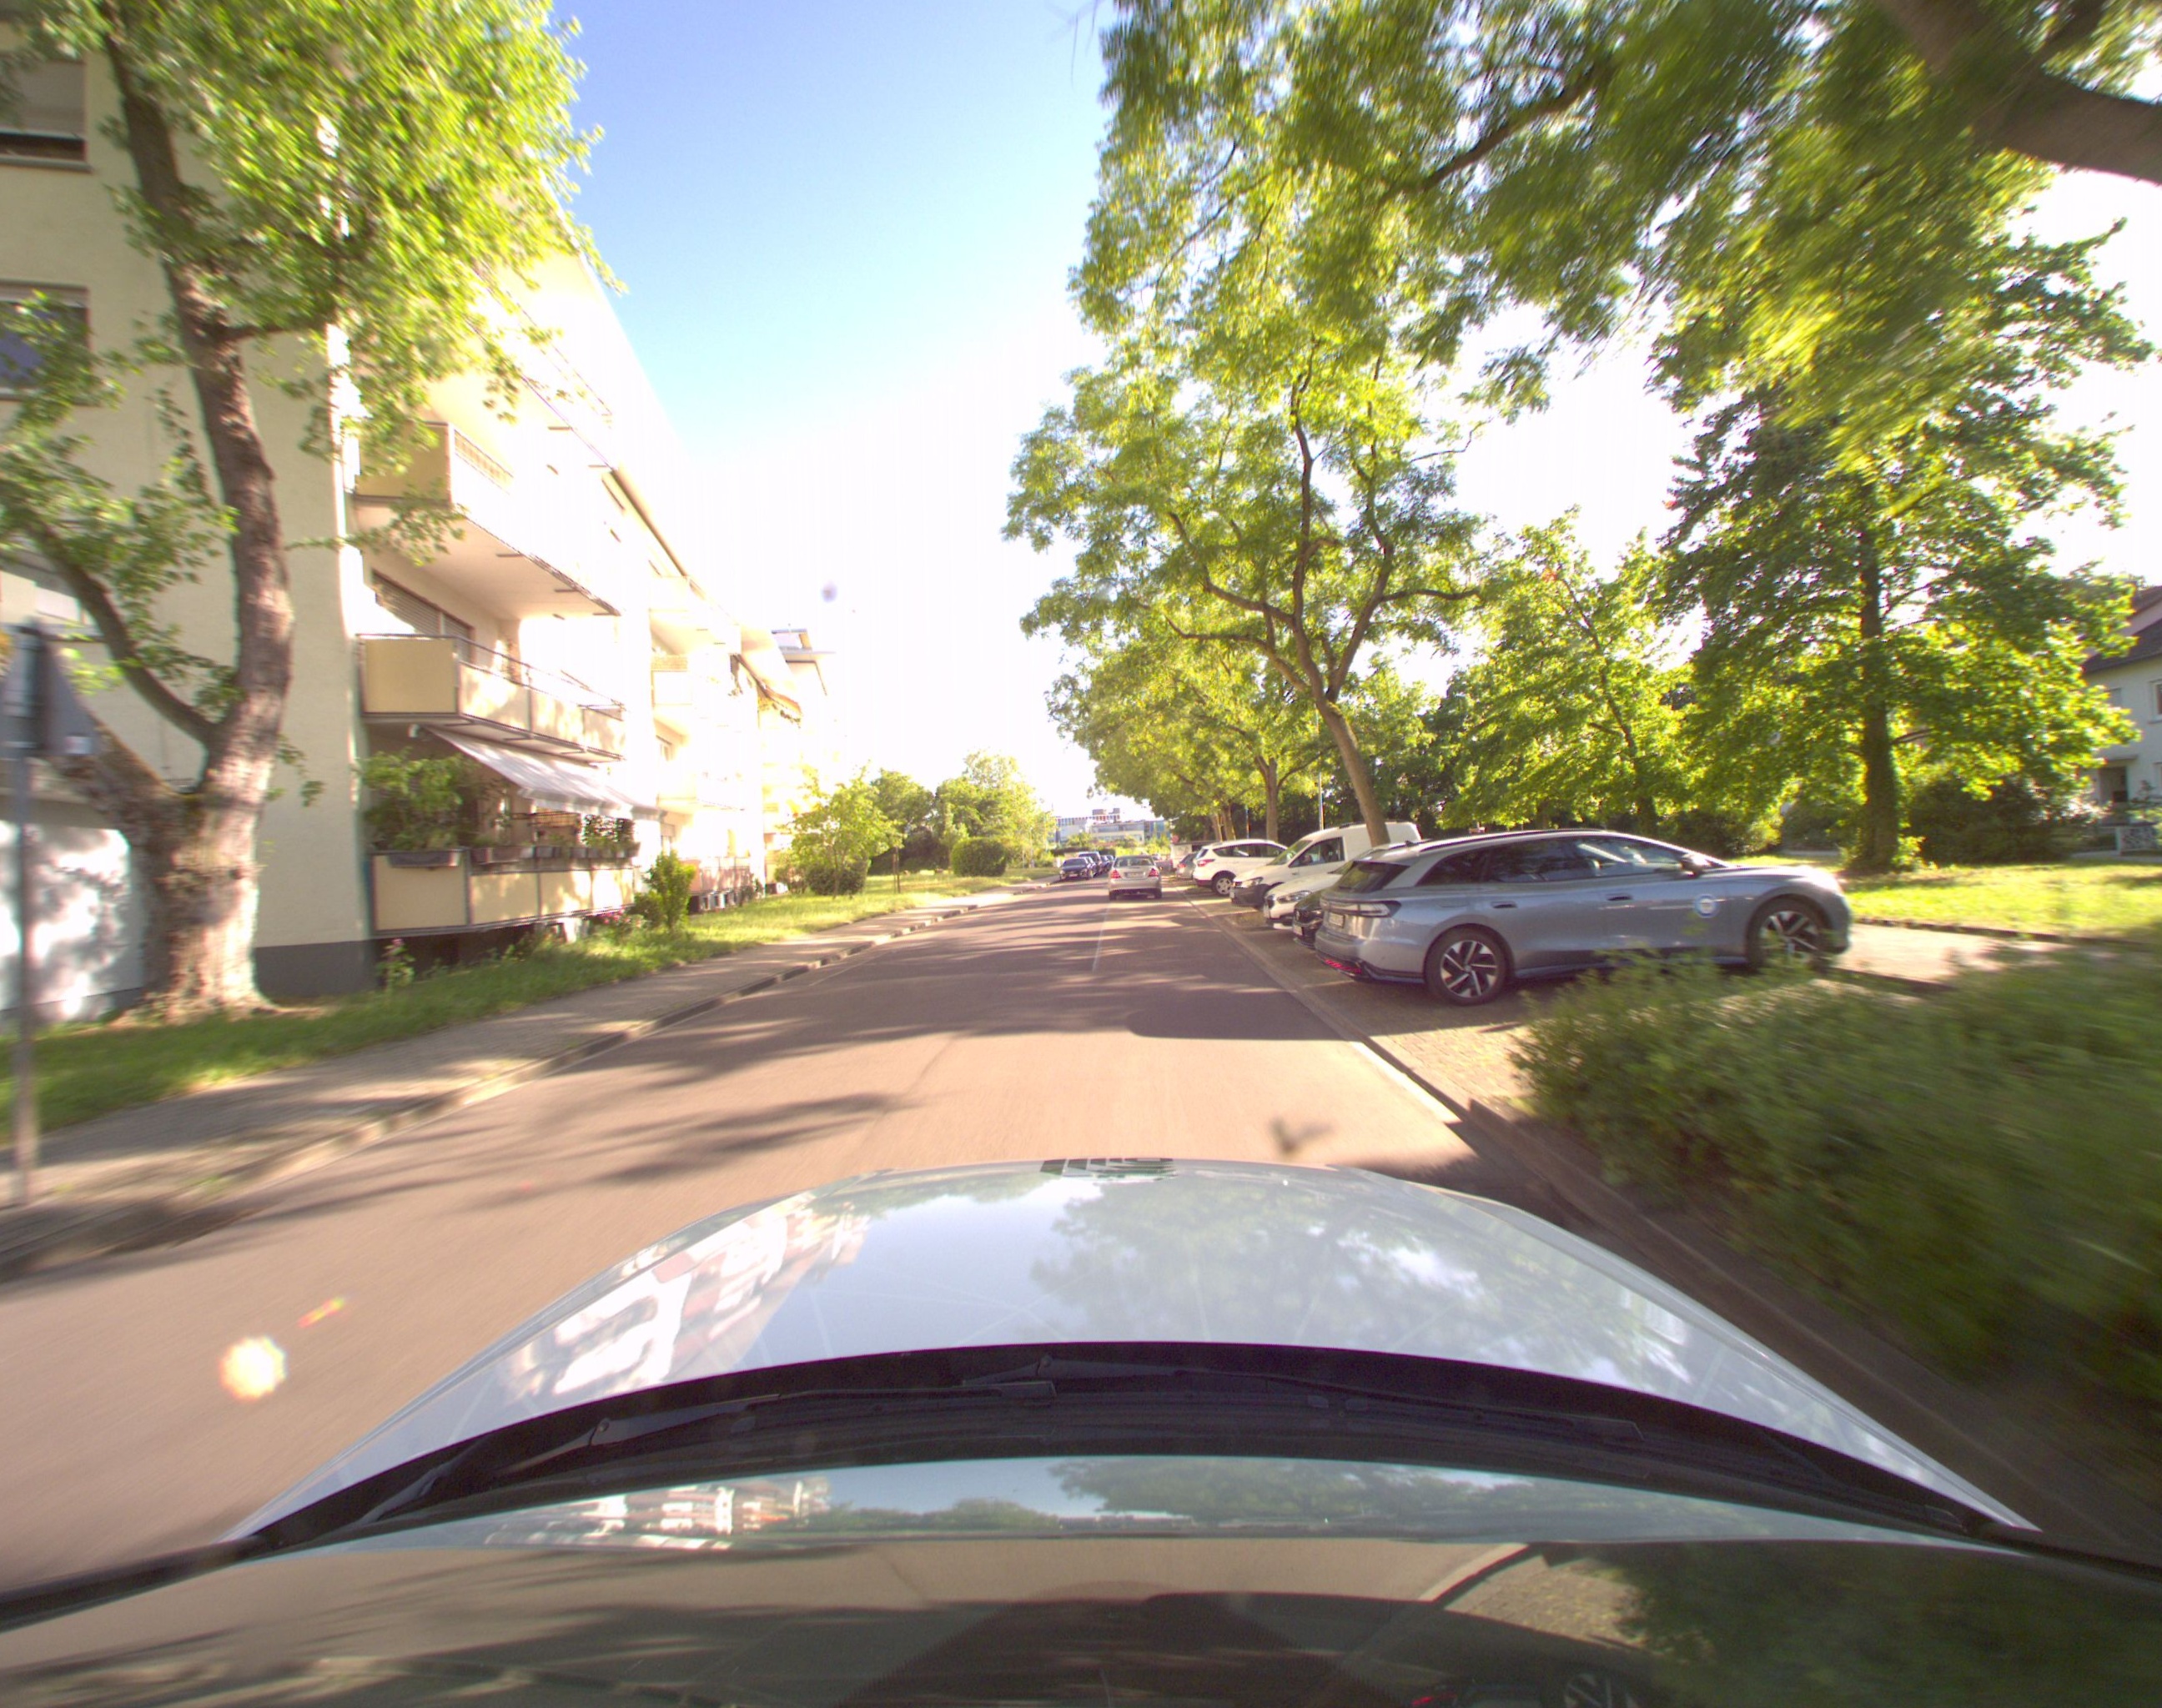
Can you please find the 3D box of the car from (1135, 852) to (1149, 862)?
[{"bbox_3d":[10.097,0.525,134.385,1.882,1.503,3.666,-3,0,9],"label":"car"}]

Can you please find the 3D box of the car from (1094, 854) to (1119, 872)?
[{"bbox_3d":[2.424,0.803,76.296,1.740,1.520,4.202,-4,0,7],"label":"car"}]

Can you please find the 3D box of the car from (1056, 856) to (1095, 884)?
[{"bbox_3d":[-0.303,0.994,51.180,1.903,1.490,3.844,-6,0,6],"label":"car"}]

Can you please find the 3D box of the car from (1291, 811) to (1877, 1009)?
[{"bbox_3d":[4.829,0.511,8.416,4.766,1.549,2.012,-3,0,0],"label":"car"}]

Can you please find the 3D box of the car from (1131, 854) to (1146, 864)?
[{"bbox_3d":[8.936,0.787,126.154,1.882,1.503,3.666,-3,0,9],"label":"car"}]

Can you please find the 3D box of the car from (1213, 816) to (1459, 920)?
[{"bbox_3d":[5.665,0.295,18.490,4.875,1.924,1.997,-4,0,-4],"label":"car"}]

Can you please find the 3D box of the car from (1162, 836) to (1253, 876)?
[{"bbox_3d":[7.476,0.105,48.557,5.192,2.059,2.003,-3,0,5],"label":"car"}]

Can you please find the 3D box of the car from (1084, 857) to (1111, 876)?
[{"bbox_3d":[1.433,1.065,69.772,1.740,1.329,3.459,-6,0,9],"label":"car"}]

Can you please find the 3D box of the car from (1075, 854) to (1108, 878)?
[{"bbox_3d":[0.856,0.893,63.215,1.739,1.688,4.275,-4,0,9],"label":"car"}]

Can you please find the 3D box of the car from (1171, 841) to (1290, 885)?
[{"bbox_3d":[6.574,0.380,36.167,4.868,1.627,2.000,-3,0,0],"label":"car"}]

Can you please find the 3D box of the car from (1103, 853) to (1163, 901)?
[{"bbox_3d":[1.776,0.746,26.899,1.724,1.434,3.444,-2,-1,6],"label":"car"}]

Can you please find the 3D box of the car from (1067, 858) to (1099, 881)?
[{"bbox_3d":[0.164,1.057,57.162,1.741,1.322,3.748,-6,0,6],"label":"car"}]

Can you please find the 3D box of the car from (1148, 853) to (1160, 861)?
[{"bbox_3d":[13.598,0.535,151.867,1.882,1.503,3.666,-3,0,9],"label":"car"}]

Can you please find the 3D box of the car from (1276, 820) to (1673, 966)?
[{"bbox_3d":[5.028,0.488,10.893,4.408,1.571,1.739,-3,0,3],"label":"car"}]

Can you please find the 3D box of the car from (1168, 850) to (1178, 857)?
[{"bbox_3d":[21.647,-0.037,191.585,1.882,1.503,3.666,-3,0,9],"label":"car"}]

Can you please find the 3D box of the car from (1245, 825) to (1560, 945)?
[{"bbox_3d":[5.193,0.482,13.661,4.429,1.517,2.000,-5,0,0],"label":"car"}]

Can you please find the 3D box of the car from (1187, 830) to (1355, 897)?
[{"bbox_3d":[5.928,0.296,25.937,4.863,1.723,2.002,-4,0,3],"label":"car"}]

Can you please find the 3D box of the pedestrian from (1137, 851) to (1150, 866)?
[{"bbox_3d":[8.836,0.658,114.686,1.564,2.089,1.729,-3,0,12],"label":"pedestrian"}]
